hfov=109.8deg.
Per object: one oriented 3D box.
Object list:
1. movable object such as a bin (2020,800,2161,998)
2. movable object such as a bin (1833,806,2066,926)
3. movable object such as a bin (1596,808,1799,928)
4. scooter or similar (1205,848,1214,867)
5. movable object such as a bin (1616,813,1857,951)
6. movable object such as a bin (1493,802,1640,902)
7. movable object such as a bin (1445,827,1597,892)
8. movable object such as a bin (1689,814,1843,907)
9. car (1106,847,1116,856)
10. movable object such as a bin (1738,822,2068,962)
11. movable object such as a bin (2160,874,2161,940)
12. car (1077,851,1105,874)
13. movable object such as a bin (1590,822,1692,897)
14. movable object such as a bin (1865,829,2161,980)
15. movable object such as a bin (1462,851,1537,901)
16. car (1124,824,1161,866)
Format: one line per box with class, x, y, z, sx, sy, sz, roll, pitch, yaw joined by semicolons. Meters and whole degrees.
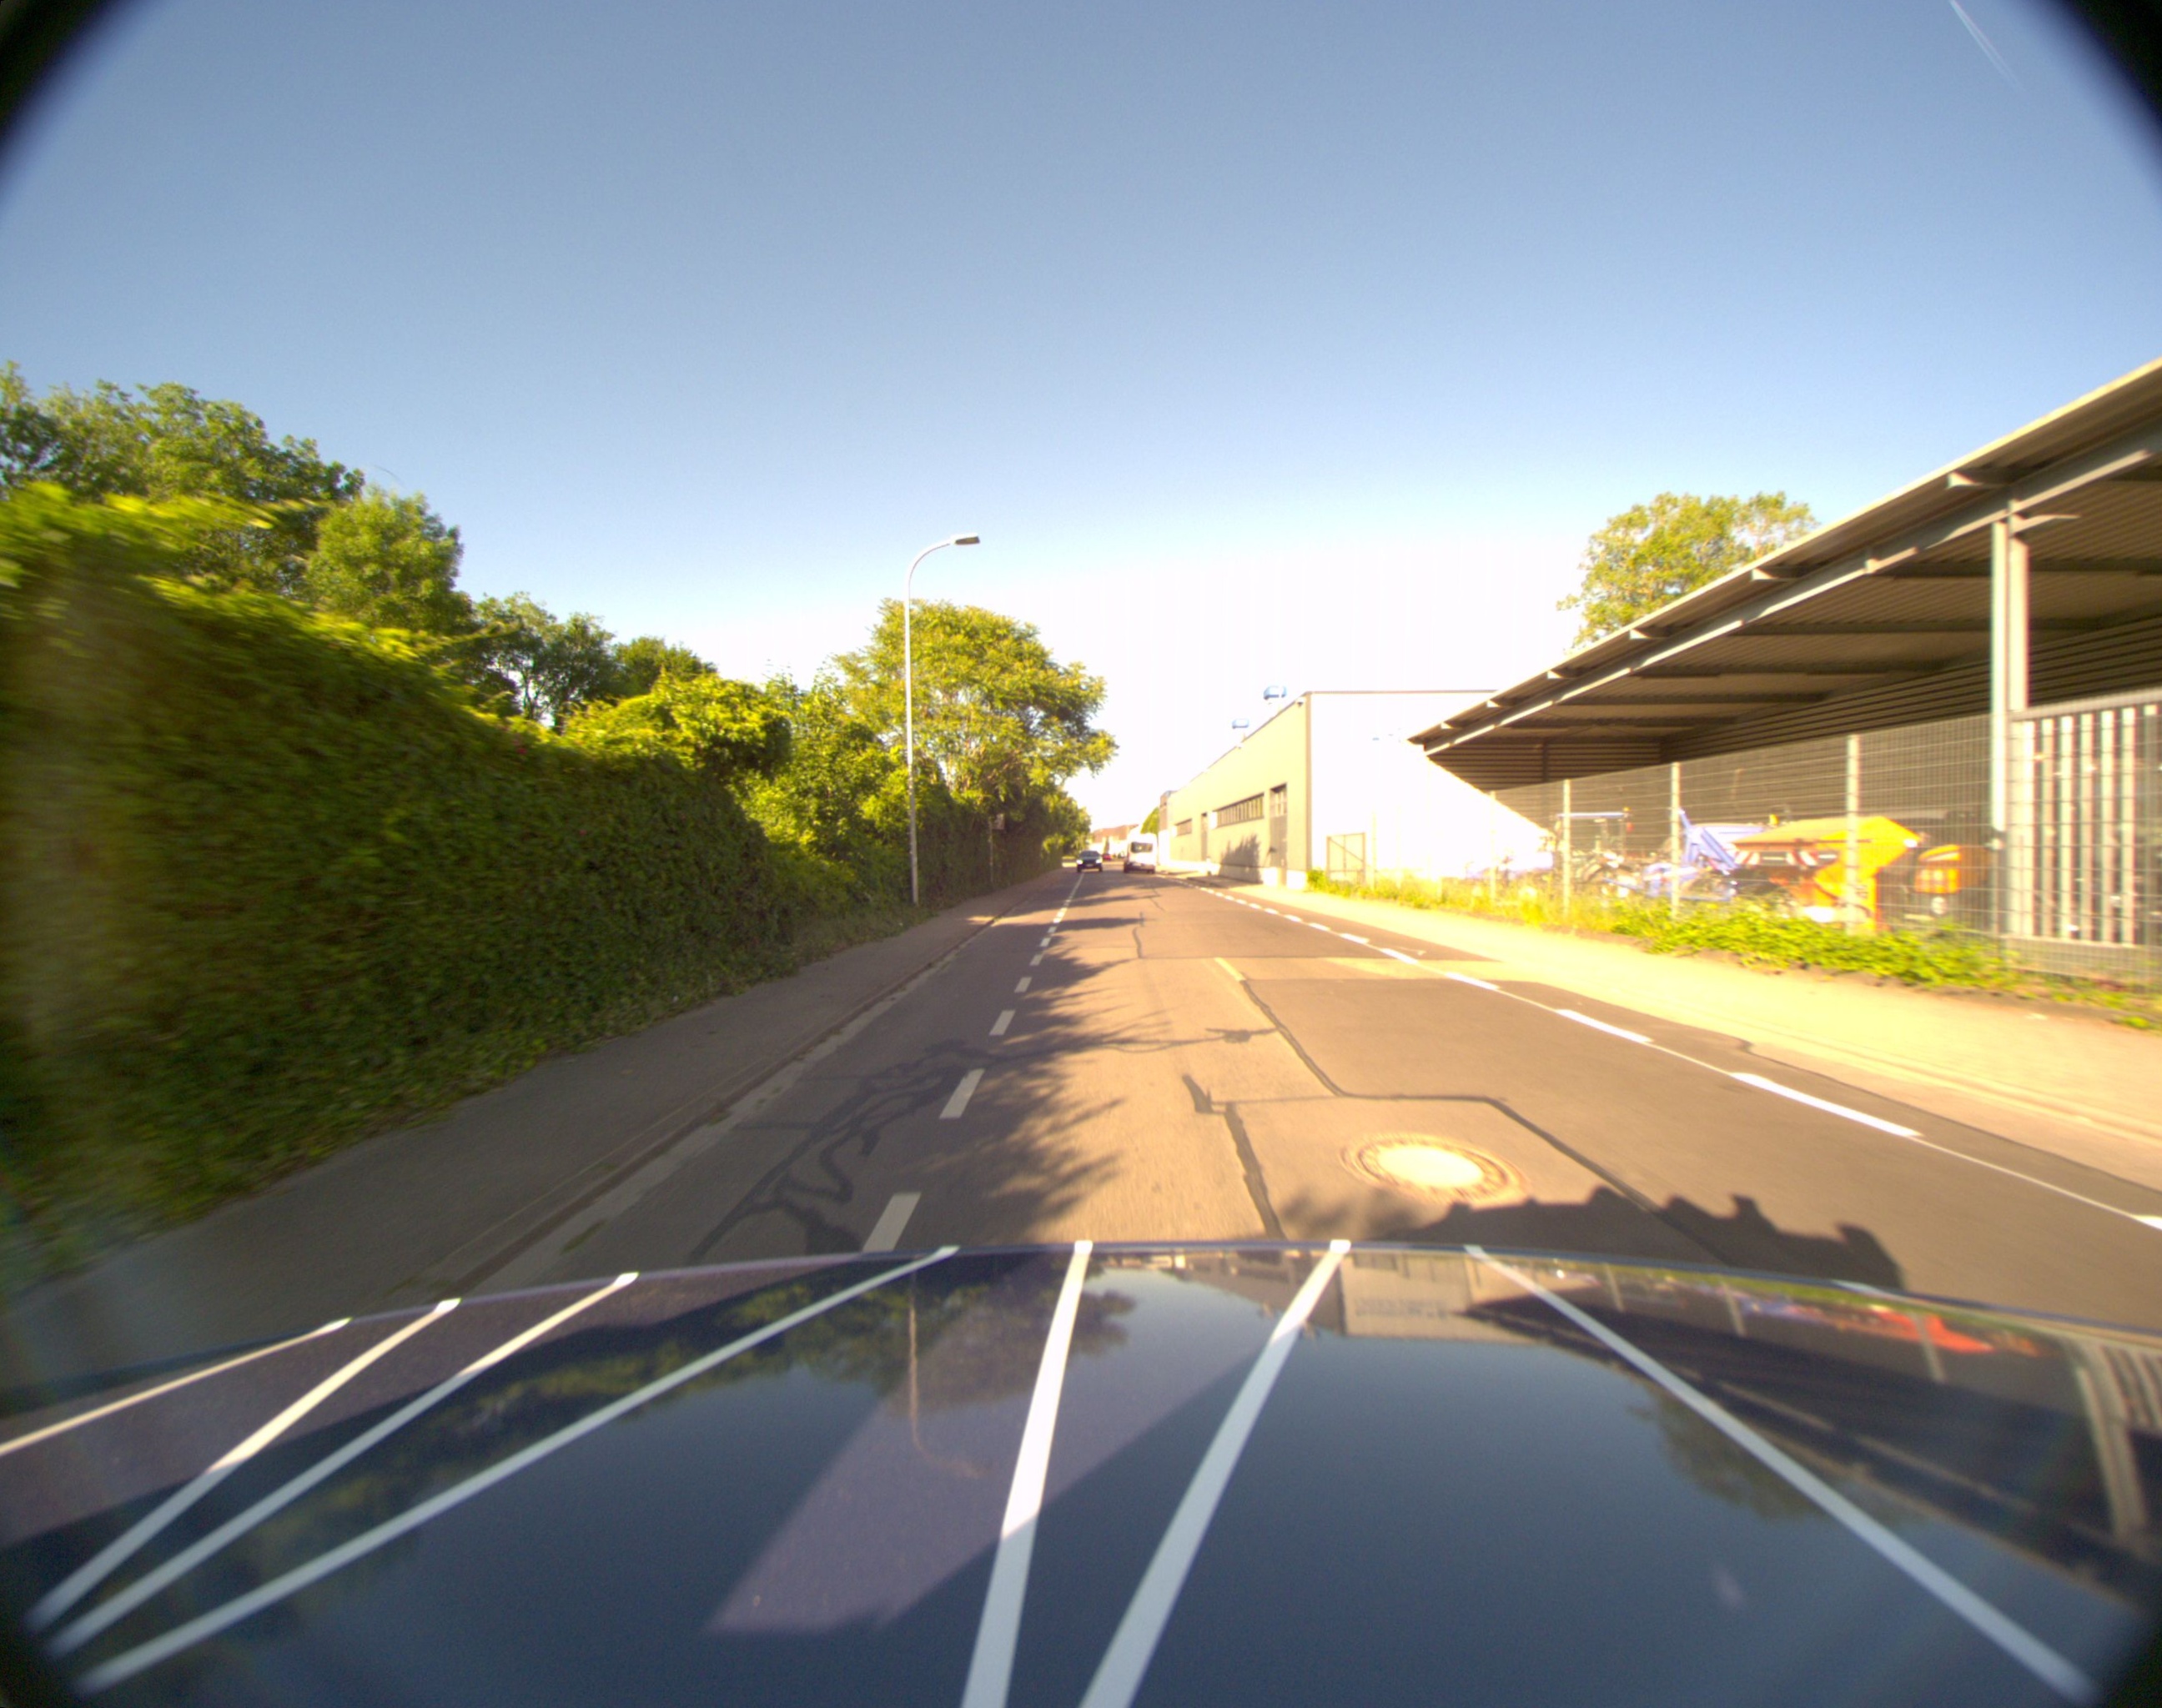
movable object such as a bin;11.321;0.425;6.924;1.662;1.923;3.097;-1;-1;-2
movable object such as a bin;16.367;0.224;14.479;1.580;2.080;2.478;-1;0;-1
movable object such as a bin;11.726;0.270;14.657;2.793;2.113;1.387;-1;0;26
scooter or similar;8.278;0.230;49.031;0.417;1.260;1.059;-1;0;1
movable object such as a bin;11.114;0.460;13.131;2.882;2.136;1.502;-1;0;28
movable object such as a bin;11.244;-0.019;17.734;2.765;2.152;1.526;-1;0;31
movable object such as a bin;11.765;0.162;20.445;3.396;1.603;1.629;-1;-1;31
movable object such as a bin;16.340;0.164;18.261;1.580;2.080;2.312;-1;0;-1
car;5.672;-0.481;144.775;1.724;1.530;4.076;2;-1;1
movable object such as a bin;11.546;0.512;10.817;3.047;1.824;1.526;-1;0;0
movable object such as a bin;16.392;0.764;10.343;1.104;0.964;1.616;-1;-1;-1
car;0.813;0.604;58.034;2.036;1.623;4.613;-1;1;2
movable object such as a bin;16.303;0.168;22.188;1.580;2.080;1.848;-1;0;-1
movable object such as a bin;11.677;0.570;9.273;2.644;1.670;1.526;-1;0;0
movable object such as a bin;12.347;0.638;22.462;1.473;1.393;1.325;-1;0;-1
car;4.296;-0.611;54.283;2.128;2.764;5.926;1;0;0
